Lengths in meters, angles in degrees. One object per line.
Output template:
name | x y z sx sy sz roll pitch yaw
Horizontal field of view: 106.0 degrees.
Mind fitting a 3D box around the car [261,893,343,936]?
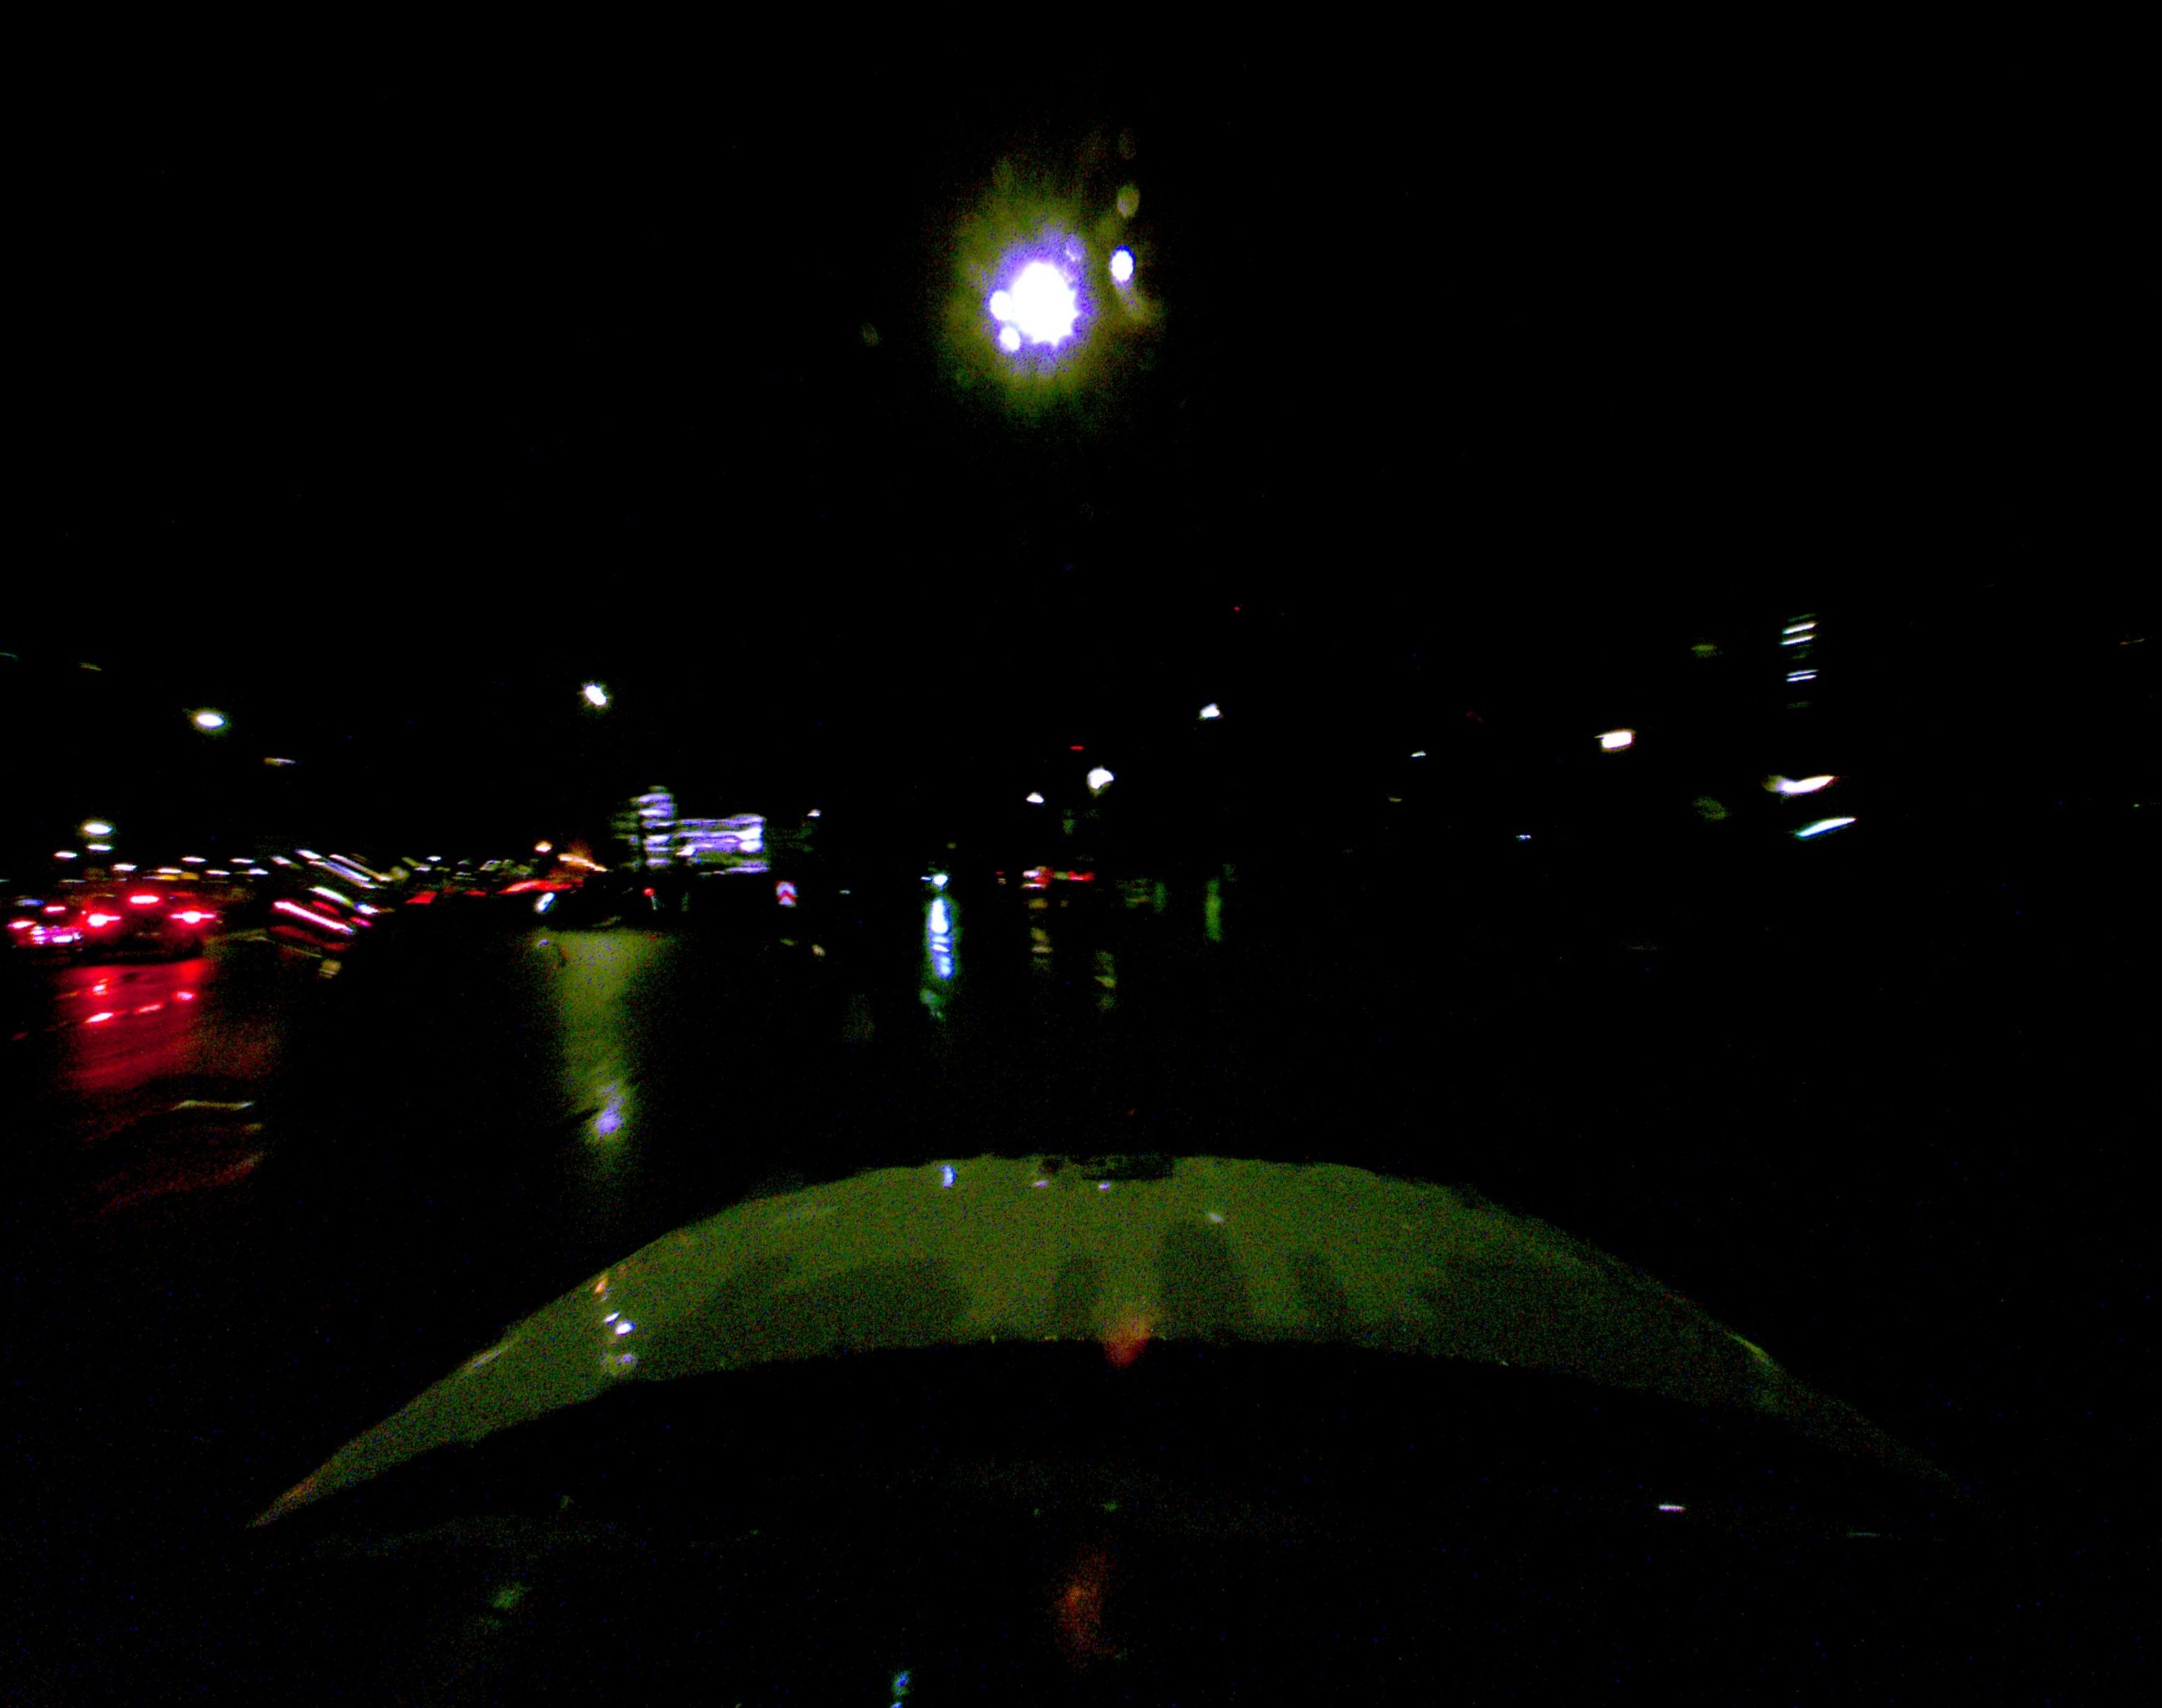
car | -32.345 2.458 33.784 3.948 1.583 1.606 -2 1 34

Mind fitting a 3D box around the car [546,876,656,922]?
car | -20.444 1.872 34.753 3.905 1.640 1.845 -2 1 -32

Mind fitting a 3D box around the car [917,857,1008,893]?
car | -6.541 1.106 45.197 4.642 1.736 1.977 -2 1 -38

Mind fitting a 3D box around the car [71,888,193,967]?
car | -22.800 1.673 19.653 3.914 1.578 1.748 -1 1 42

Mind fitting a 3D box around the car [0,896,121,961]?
car | -29.546 2.067 22.857 3.921 1.578 1.885 -2 0 17

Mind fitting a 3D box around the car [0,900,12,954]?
car | -34.365 2.259 24.075 3.926 1.578 1.743 -2 0 11

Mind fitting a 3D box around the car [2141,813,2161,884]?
car | 22.903 -0.100 15.988 1.700 1.496 3.937 -2 1 40

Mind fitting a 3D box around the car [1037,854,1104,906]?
car | -0.370 1.062 35.724 1.981 2.013 4.572 -2 1 11

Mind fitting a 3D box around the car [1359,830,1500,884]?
car | 11.831 0.106 27.816 1.929 1.684 3.952 -2 1 -41
